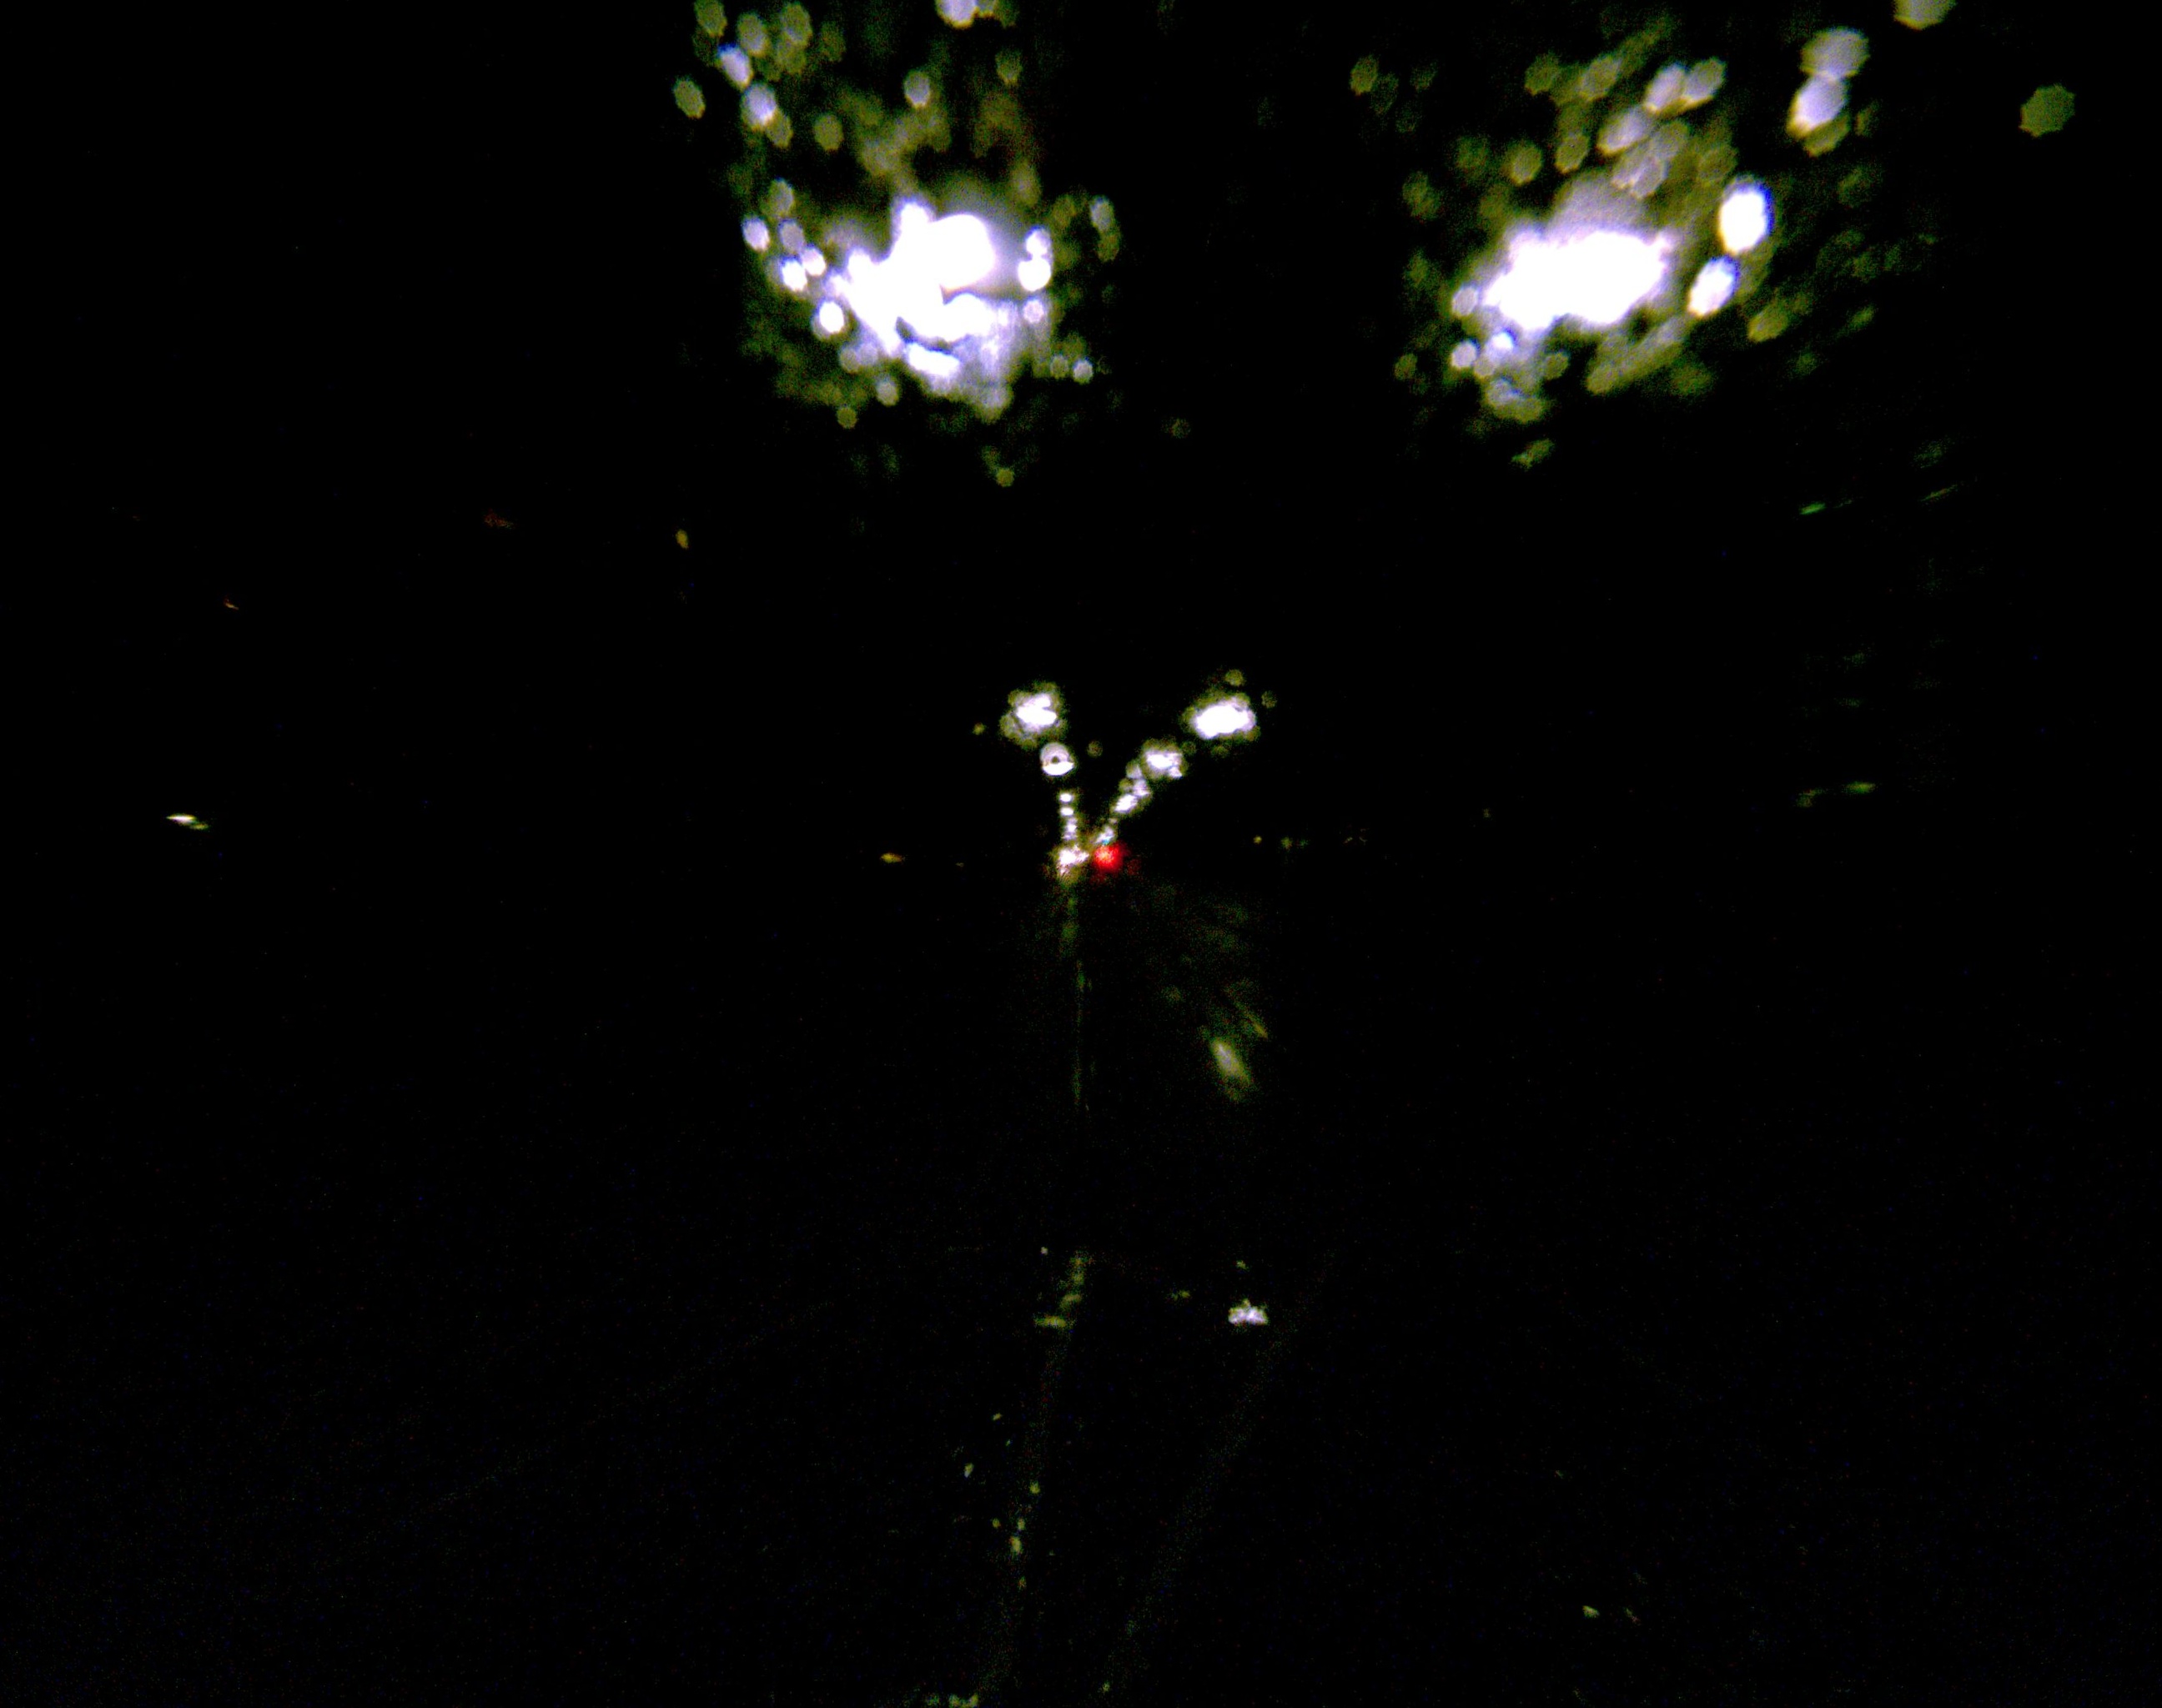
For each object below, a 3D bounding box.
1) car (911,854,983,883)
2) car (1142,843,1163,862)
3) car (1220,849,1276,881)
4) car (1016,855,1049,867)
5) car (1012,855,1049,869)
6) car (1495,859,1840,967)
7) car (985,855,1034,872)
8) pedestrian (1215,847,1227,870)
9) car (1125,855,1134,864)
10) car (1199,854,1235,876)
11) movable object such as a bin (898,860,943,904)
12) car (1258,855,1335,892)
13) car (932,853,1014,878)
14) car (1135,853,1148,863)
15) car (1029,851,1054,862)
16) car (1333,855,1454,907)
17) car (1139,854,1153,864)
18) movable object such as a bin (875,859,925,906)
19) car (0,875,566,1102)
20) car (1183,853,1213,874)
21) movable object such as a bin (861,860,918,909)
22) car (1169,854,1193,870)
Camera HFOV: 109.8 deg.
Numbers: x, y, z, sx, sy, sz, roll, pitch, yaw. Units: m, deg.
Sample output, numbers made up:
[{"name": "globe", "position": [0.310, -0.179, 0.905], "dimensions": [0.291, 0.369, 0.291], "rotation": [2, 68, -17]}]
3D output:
[{"name": "car", "position": [-7.350, 0.785, 41.624], "dimensions": [3.708, 1.509, 1.656], "rotation": [0, 0, -18]}, {"name": "car", "position": [9.984, -0.162, 106.595], "dimensions": [2.248, 2.494, 5.258], "rotation": [-3, 1, -2]}, {"name": "car", "position": [9.622, 0.581, 44.230], "dimensions": [2.149, 1.610, 4.588], "rotation": [-3, 1, 0]}, {"name": "car", "position": [-6.159, 0.872, 97.098], "dimensions": [1.658, 1.473, 4.195], "rotation": [-3, -1, 42]}, {"name": "car", "position": [-5.608, 0.906, 84.712], "dimensions": [1.707, 1.503, 3.915], "rotation": [0, 1, 43]}, {"name": "car", "position": [9.604, 0.836, 13.150], "dimensions": [1.893, 1.454, 4.958], "rotation": [0, 0, -4]}, {"name": "car", "position": [-6.654, 0.864, 71.212], "dimensions": [4.350, 1.459, 1.676], "rotation": [-1, 0, -38]}, {"name": "pedestrian", "position": [11.949, 0.392, 64.772], "dimensions": [0.794, 1.890, 1.290], "rotation": [-1, 1, 1]}, {"name": "car", "position": [9.492, 1.045, 148.717], "dimensions": [1.693, 1.565, 3.918], "rotation": [-1, 1, 1]}, {"name": "car", "position": [9.529, 0.759, 53.599], "dimensions": [1.735, 1.430, 4.625], "rotation": [-1, 1, 1]}, {"name": "movable object such as a bin", "position": [-5.333, 0.929, 25.358], "dimensions": [1.326, 1.400, 1.159], "rotation": [1, 1, -5]}, {"name": "car", "position": [9.190, 0.788, 32.750], "dimensions": [1.778, 1.432, 4.606], "rotation": [0, 0, -3]}, {"name": "car", "position": [-6.450, 0.667, 45.376], "dimensions": [4.604, 1.467, 1.837], "rotation": [0, 0, -19]}, {"name": "car", "position": [10.137, 0.657, 127.570], "dimensions": [1.846, 1.572, 3.663], "rotation": [-3, 1, -1]}, {"name": "car", "position": [-6.695, 0.353, 129.178], "dimensions": [3.965, 1.760, 1.666], "rotation": [-1, 1, -37]}, {"name": "car", "position": [9.502, 0.766, 23.514], "dimensions": [1.845, 1.415, 4.207], "rotation": [0, 0, -3]}, {"name": "car", "position": [10.194, 0.725, 118.905], "dimensions": [1.720, 1.399, 3.389], "rotation": [-3, 1, -1]}, {"name": "movable object such as a bin", "position": [-5.749, 0.901, 24.202], "dimensions": [1.210, 1.414, 1.101], "rotation": [1, 1, 6]}, {"name": "car", "position": [-7.384, 1.046, 6.966], "dimensions": [4.111, 1.528, 1.956], "rotation": [-1, 1, -25]}, {"name": "car", "position": [9.836, 0.792, 64.283], "dimensions": [1.814, 1.569, 4.353], "rotation": [-4, 0, 1]}, {"name": "movable object such as a bin", "position": [-5.796, 0.916, 23.071], "dimensions": [1.371, 1.414, 1.073], "rotation": [1, 1, 6]}, {"name": "car", "position": [9.588, 0.739, 73.125], "dimensions": [1.723, 1.447, 3.950], "rotation": [-1, 1, 0]}]
